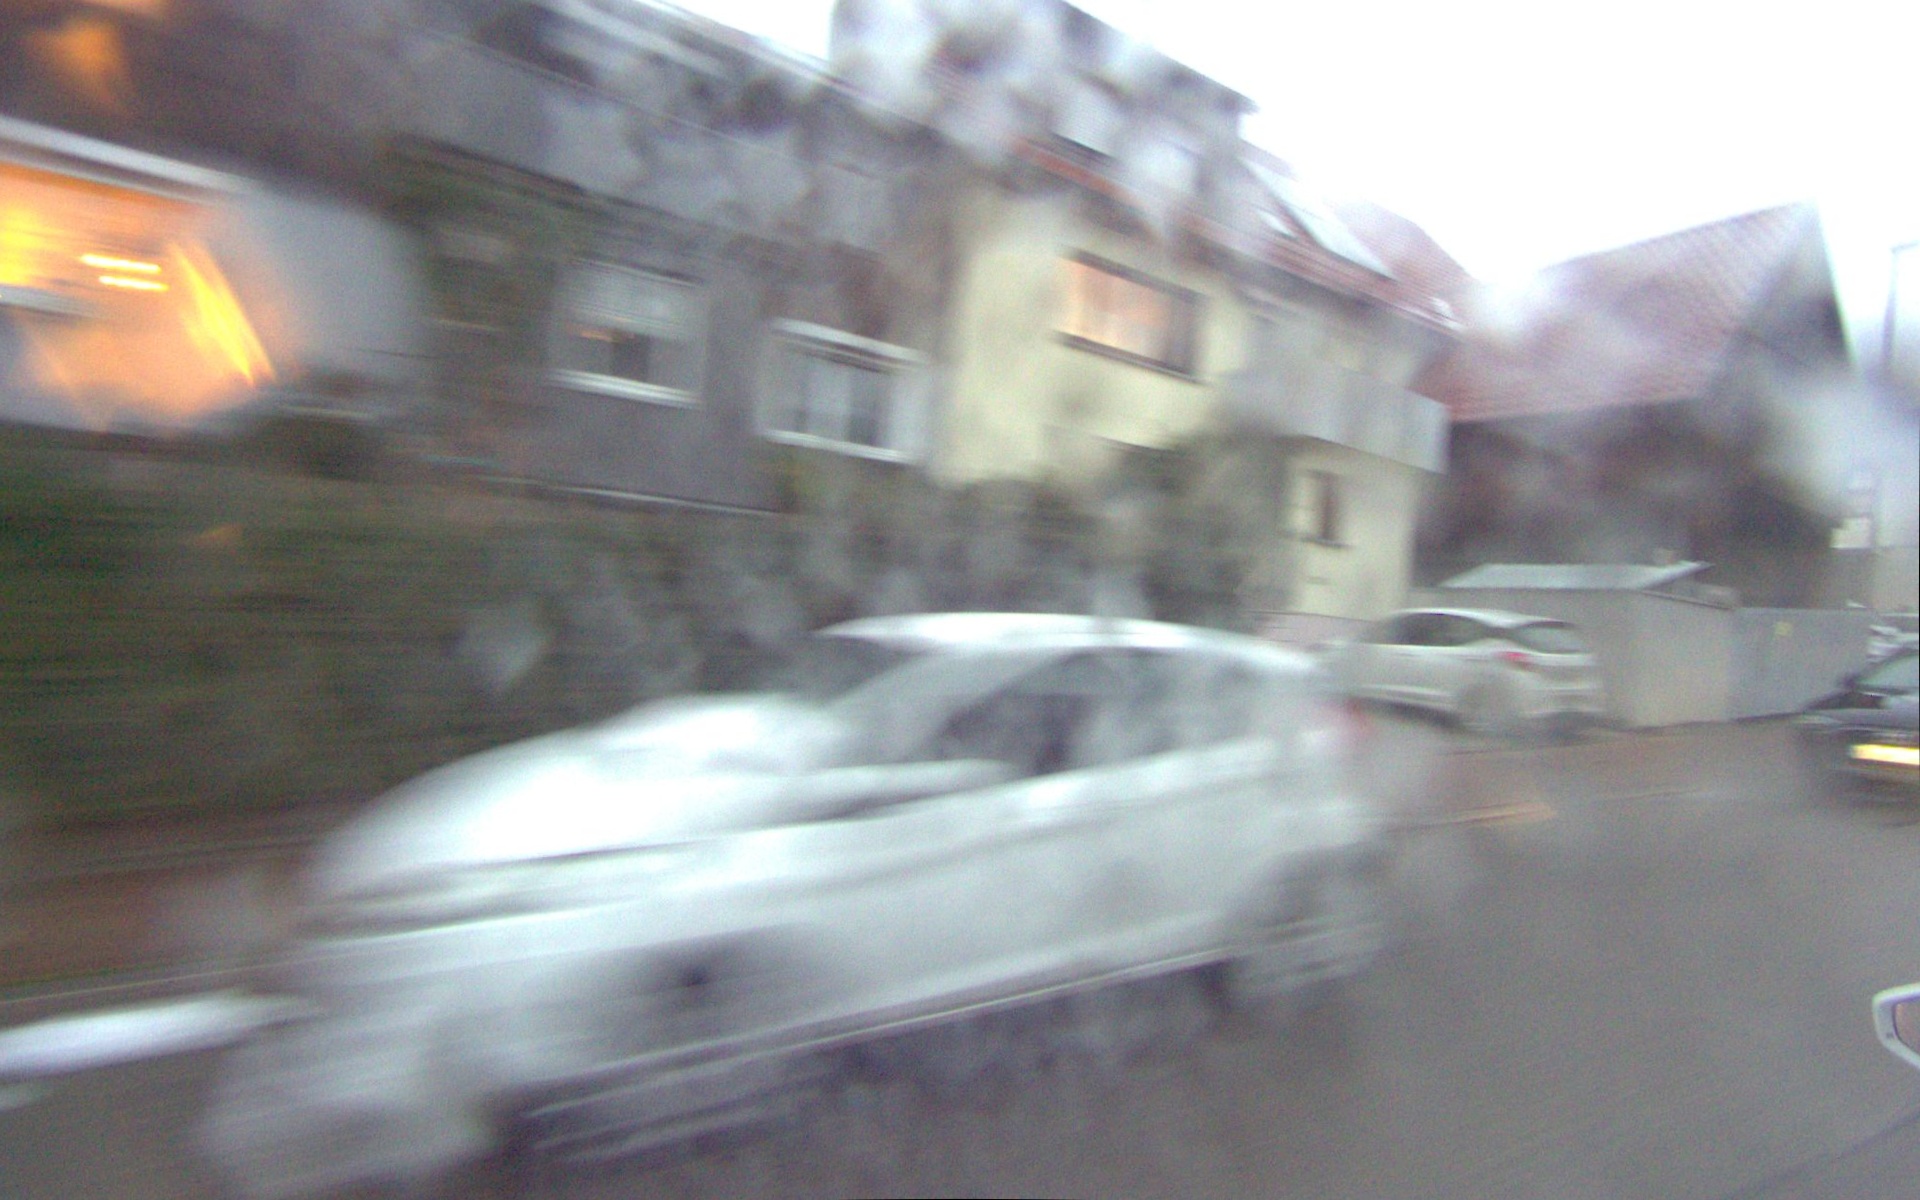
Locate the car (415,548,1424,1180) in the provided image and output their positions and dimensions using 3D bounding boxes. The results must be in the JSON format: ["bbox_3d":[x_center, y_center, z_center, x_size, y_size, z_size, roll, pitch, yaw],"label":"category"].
[{"bbox_3d":[-0.038,0.683,3.949,3.614,1.457,1.610,3,-1,-31],"label":"car"}]

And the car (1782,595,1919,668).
[{"bbox_3d":[22.819,0.784,24.402,1.864,1.639,3.973,2,1,-26],"label":"car"}]

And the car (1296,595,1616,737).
[{"bbox_3d":[6.464,0.781,13.448,1.751,1.548,3.450,2,1,-27],"label":"car"}]

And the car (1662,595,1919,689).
[{"bbox_3d":[18.032,0.854,21.894,1.974,1.770,3.973,2,1,-26],"label":"car"}]

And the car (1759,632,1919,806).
[{"bbox_3d":[10.039,1.110,9.786,5.017,1.413,1.868,3,-1,-31],"label":"car"}]
